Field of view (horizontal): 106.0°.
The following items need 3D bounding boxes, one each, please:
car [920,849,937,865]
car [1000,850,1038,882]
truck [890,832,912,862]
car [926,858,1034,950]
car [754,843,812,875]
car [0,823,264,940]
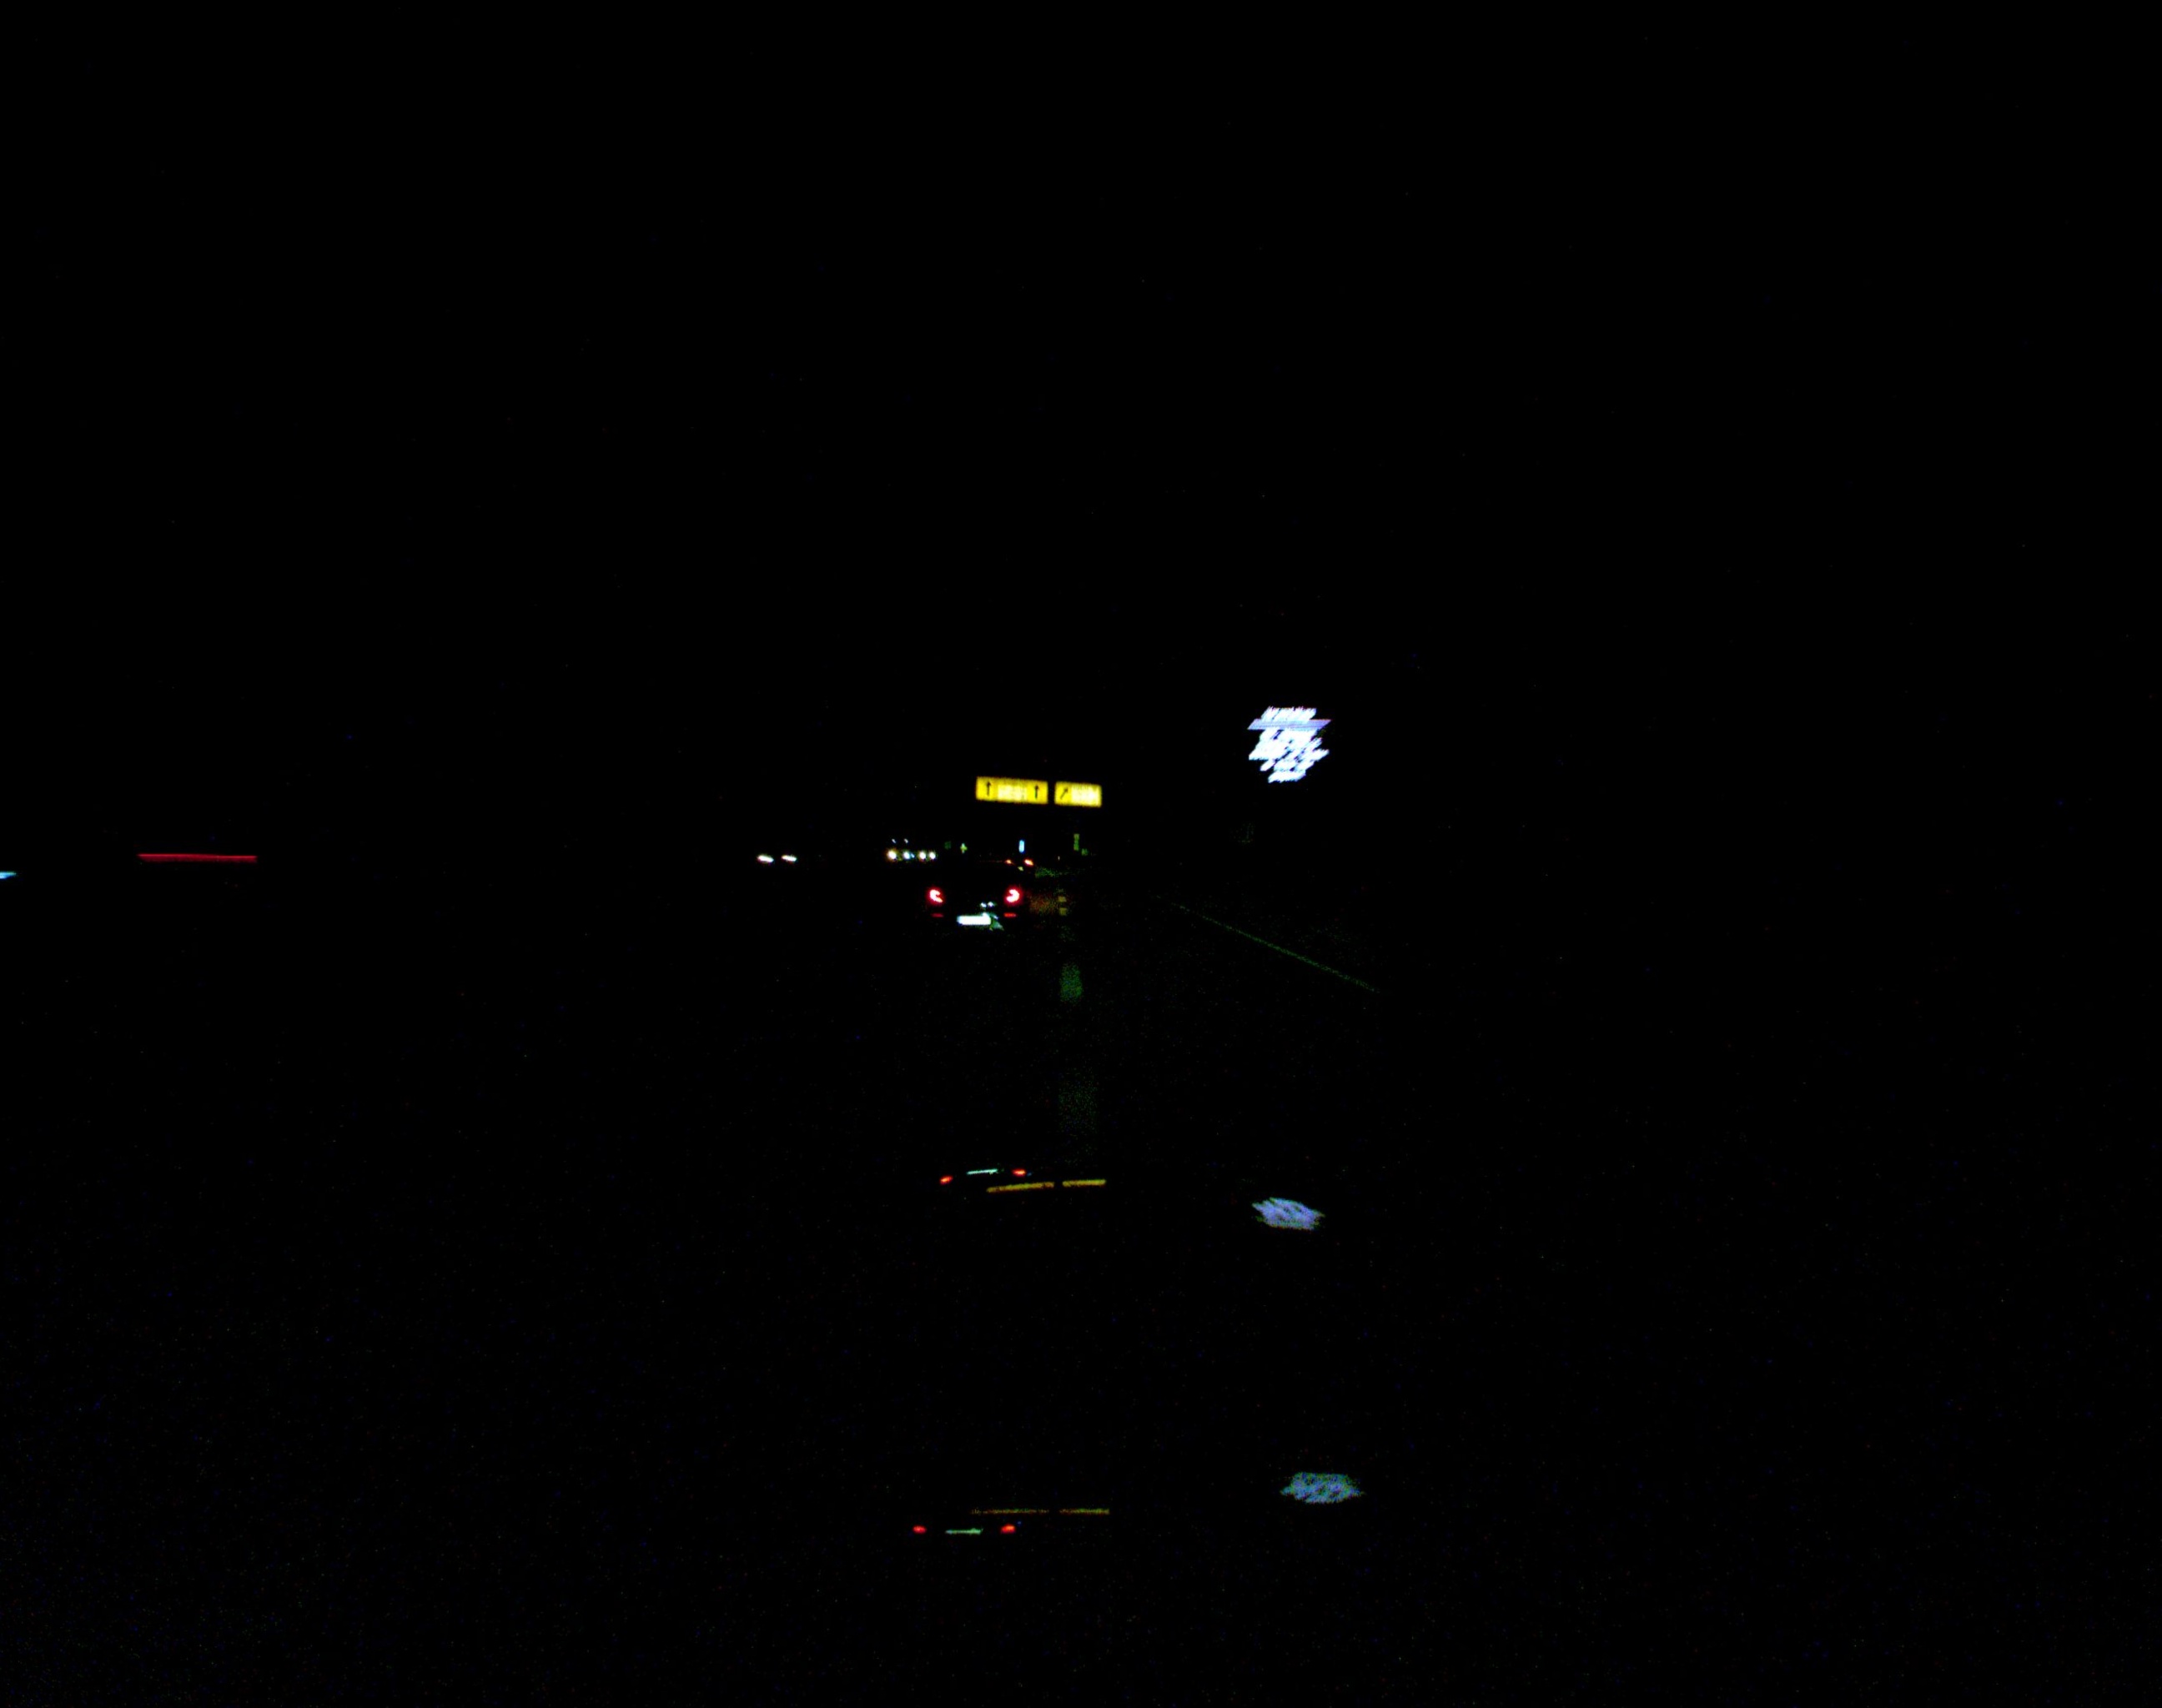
[{"bbox_3d":[-23.124,0.408,123.575,1.991,2.266,3.992,4,-1,-6],"label":"car"},{"bbox_3d":[-3.596,0.686,47.772,1.901,1.698,3.998,3,0,-1],"label":"car"},{"bbox_3d":[-26.561,-0.987,120.598,2.627,4.233,8.562,4,-1,-11],"label":"truck"},{"bbox_3d":[-1.772,0.835,15.387,1.583,1.508,3.998,0,0,-1],"label":"car"},{"bbox_3d":[-19.775,0.338,54.233,2.358,2.014,5.023,1,0,-5],"label":"car"},{"bbox_3d":[-17.229,0.396,13.679,1.962,1.763,5.028,1,0,-2],"label":"car"}]
